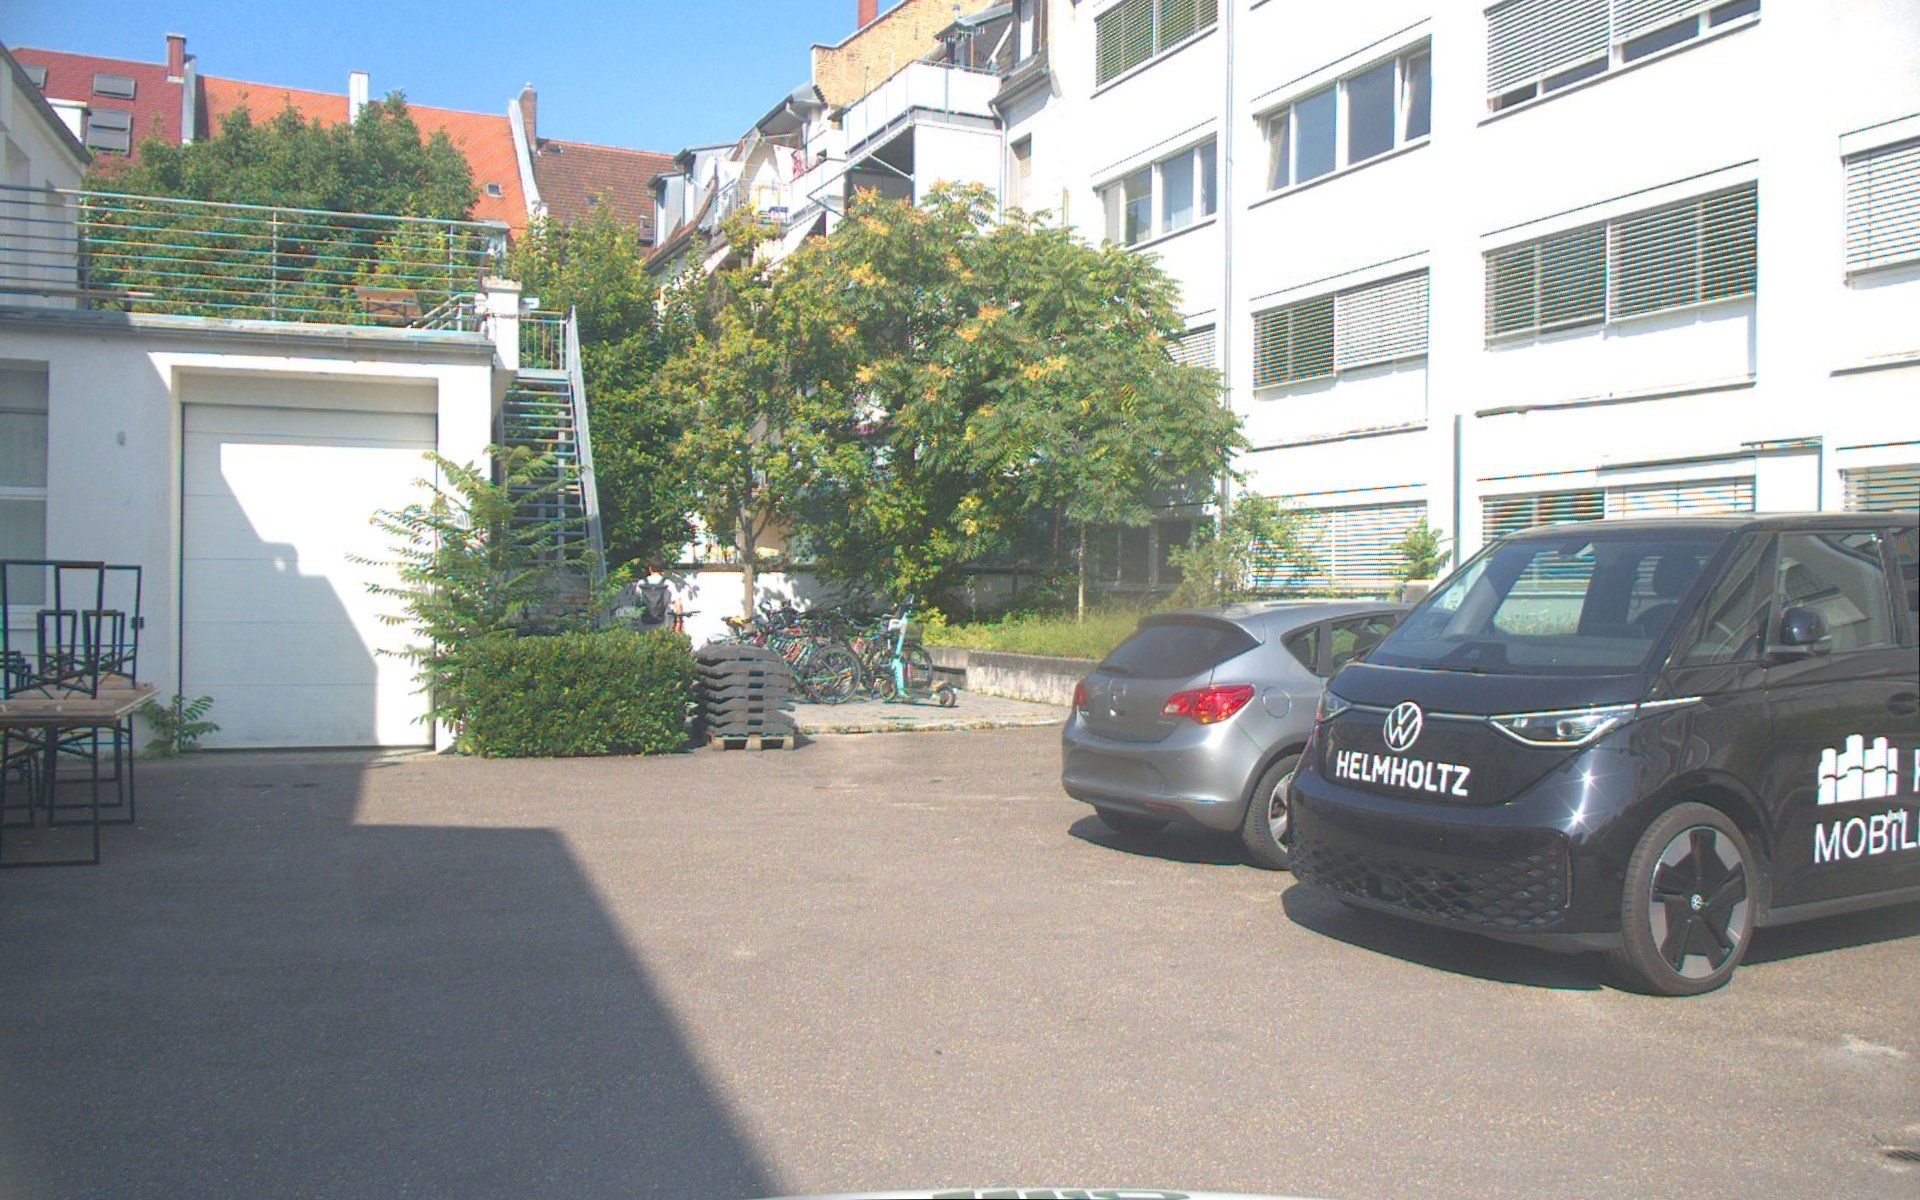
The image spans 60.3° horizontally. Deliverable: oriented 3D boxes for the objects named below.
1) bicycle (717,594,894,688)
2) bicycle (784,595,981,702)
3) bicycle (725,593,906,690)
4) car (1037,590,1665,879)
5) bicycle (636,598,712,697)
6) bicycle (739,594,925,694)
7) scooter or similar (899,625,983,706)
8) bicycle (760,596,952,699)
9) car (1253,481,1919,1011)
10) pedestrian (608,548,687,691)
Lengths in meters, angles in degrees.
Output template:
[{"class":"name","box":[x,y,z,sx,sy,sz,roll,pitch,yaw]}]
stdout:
[{"class":"bicycle","box":[-2.137,0.577,22.987,2.374,1.268,0.523,1,0,-19]},{"class":"bicycle","box":[-0.948,0.601,20.445,2.374,1.268,0.523,1,0,-19]},{"class":"bicycle","box":[-1.940,0.561,22.302,2.374,1.268,0.523,1,0,-19]},{"class":"car","box":[2.520,0.691,10.391,3.859,1.491,1.645,0,1,-33]},{"class":"bicycle","box":[-3.686,0.580,21.218,0.482,1.163,1.979,-1,1,-24]},{"class":"bicycle","box":[-1.675,0.582,21.789,2.374,1.268,0.523,1,0,-19]},{"class":"scooter or similar","box":[-0.231,0.788,20.198,0.979,0.940,0.359,1,0,34]},{"class":"bicycle","box":[-1.311,0.602,21.033,2.374,1.268,0.523,1,0,-19]},{"class":"car","box":[3.659,0.499,7.780,4.286,1.891,1.897,0,1,-29]},{"class":"pedestrian","box":[-4.024,0.244,21.298,0.847,1.802,0.606,1,0,-25]}]
